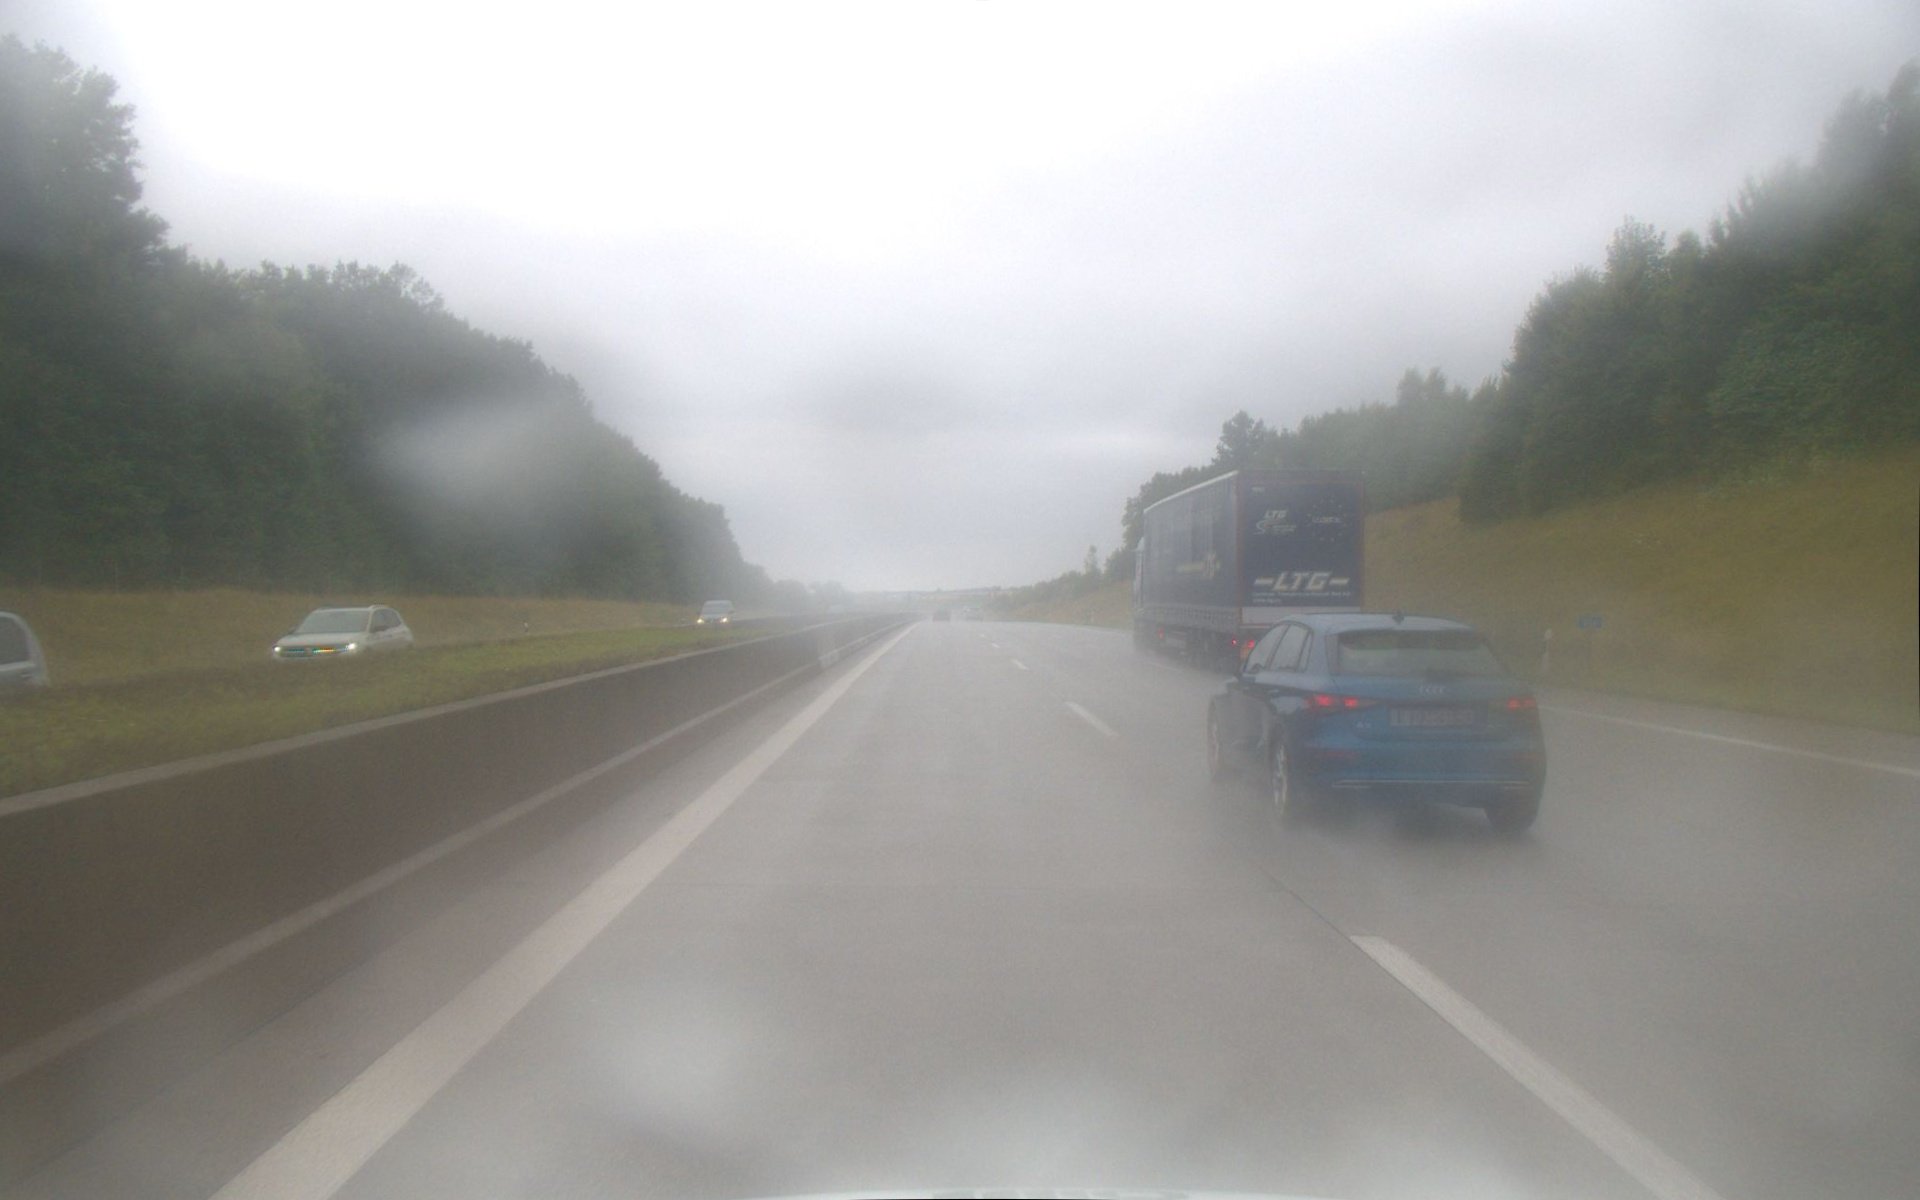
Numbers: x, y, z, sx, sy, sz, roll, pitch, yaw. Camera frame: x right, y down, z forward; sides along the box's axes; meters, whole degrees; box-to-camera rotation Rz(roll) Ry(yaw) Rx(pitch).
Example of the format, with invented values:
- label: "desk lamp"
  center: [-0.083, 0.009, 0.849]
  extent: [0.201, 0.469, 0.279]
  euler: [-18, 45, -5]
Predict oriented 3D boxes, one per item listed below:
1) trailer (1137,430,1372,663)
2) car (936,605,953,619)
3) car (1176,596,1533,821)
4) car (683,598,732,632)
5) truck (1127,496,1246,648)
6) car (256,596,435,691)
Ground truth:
- label: "trailer"
  center: [6.515, -0.992, 39.580]
  extent: [2.651, 4.456, 15.201]
  euler: [1, 0, -1]
- label: "car"
  center: [-1.528, 1.153, 165.402]
  extent: [1.694, 1.354, 4.429]
  euler: [0, 0, -1]
- label: "car"
  center: [2.950, 0.769, 13.420]
  extent: [1.694, 1.484, 4.671]
  euler: [-1, -1, -1]
- label: "car"
  center: [-13.409, 0.792, 88.139]
  extent: [1.841, 1.694, 4.687]
  euler: [-2, -1, 0]
- label: "truck"
  center: [6.348, -0.728, 47.061]
  extent: [2.582, 4.023, 5.685]
  euler: [1, 0, 0]
- label: "car"
  center: [-12.121, 0.808, 32.952]
  extent: [1.841, 1.694, 4.686]
  euler: [-2, 0, -1]
